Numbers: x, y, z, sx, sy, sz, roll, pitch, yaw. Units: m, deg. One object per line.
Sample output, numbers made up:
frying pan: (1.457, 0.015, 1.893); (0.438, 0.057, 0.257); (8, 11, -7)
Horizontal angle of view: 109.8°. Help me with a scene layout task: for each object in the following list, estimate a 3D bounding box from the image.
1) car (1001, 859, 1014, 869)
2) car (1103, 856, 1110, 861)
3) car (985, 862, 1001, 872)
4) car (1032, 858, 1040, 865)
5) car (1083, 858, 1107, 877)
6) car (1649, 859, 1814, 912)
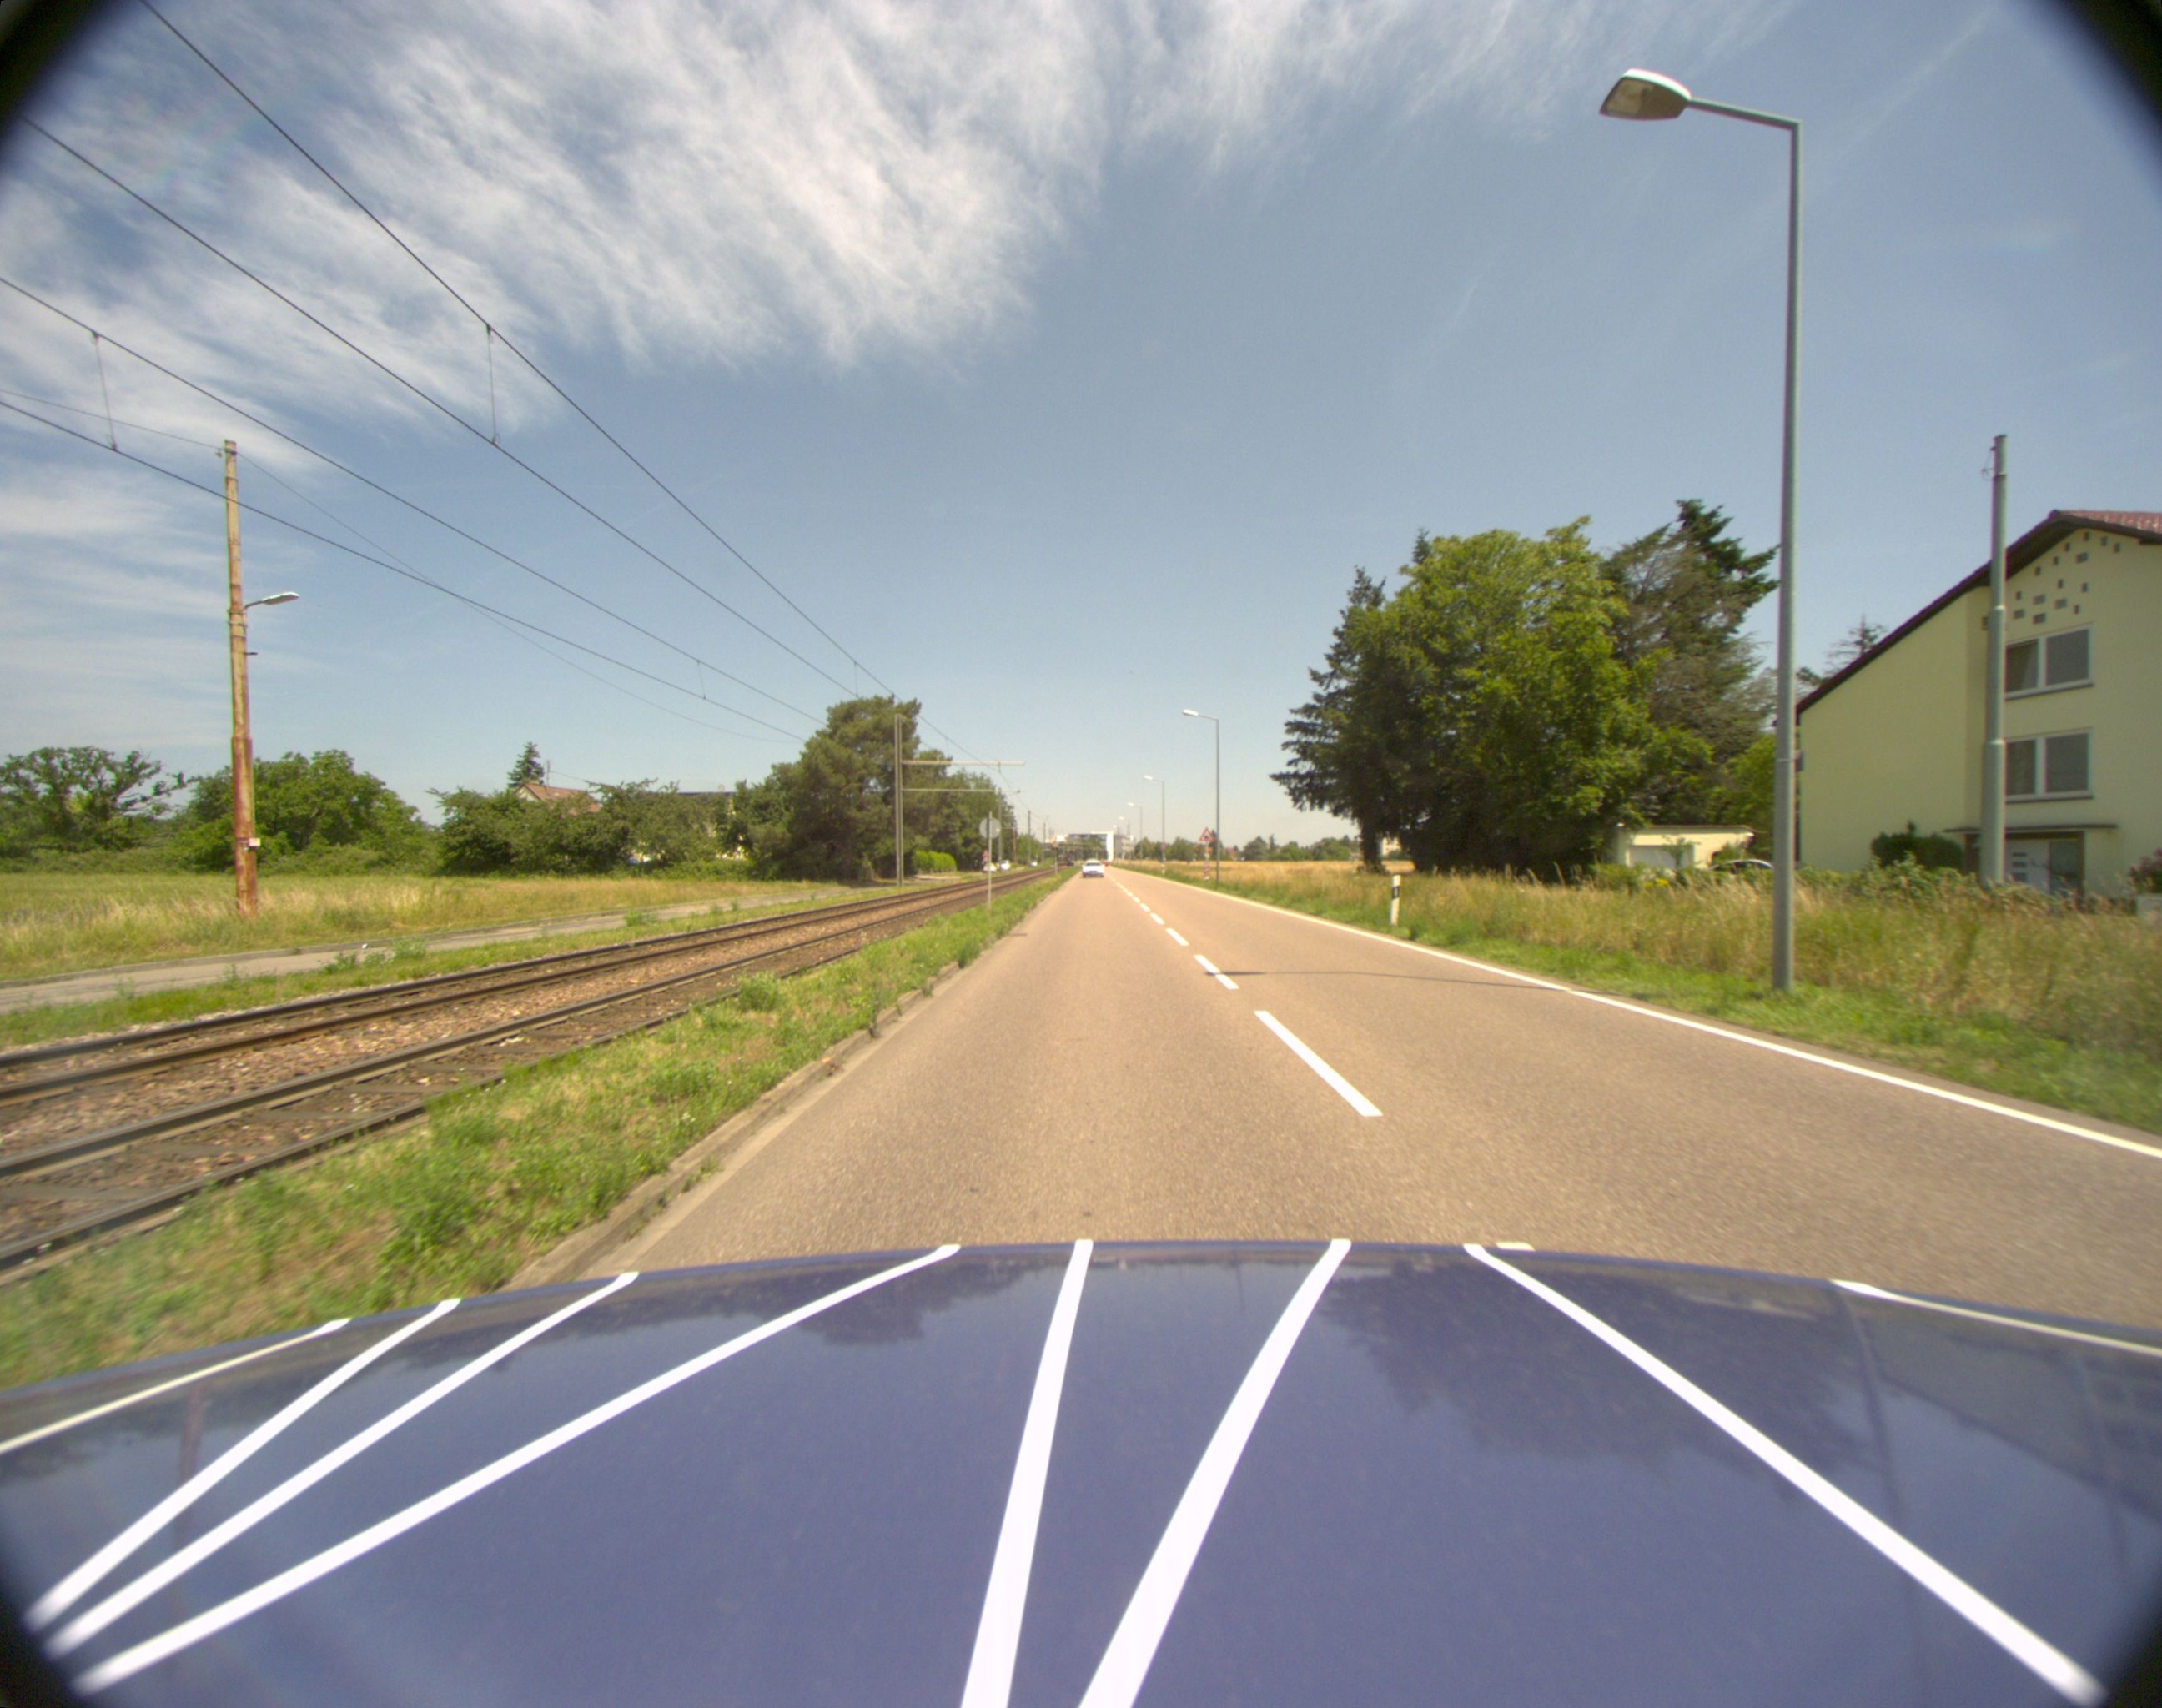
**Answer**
car: (-13.614, 1.833, 141.432); (1.863, 1.816, 4.587); (-2, 0, 1)
car: (8.143, 1.434, 241.373); (2.254, 1.254, 3.890); (-2, 0, 1)
car: (-14.059, 2.053, 121.773); (1.922, 1.376, 4.000); (-2, 0, 1)
car: (-13.011, 2.139, 219.275); (1.944, 2.111, 4.587); (-2, 0, 1)
car: (1.193, 1.128, 64.377); (1.856, 1.447, 3.706); (-2, 0, 1)
car: (20.605, 0.934, 24.318); (1.710, 1.483, 4.186); (-2, 0, 1)
